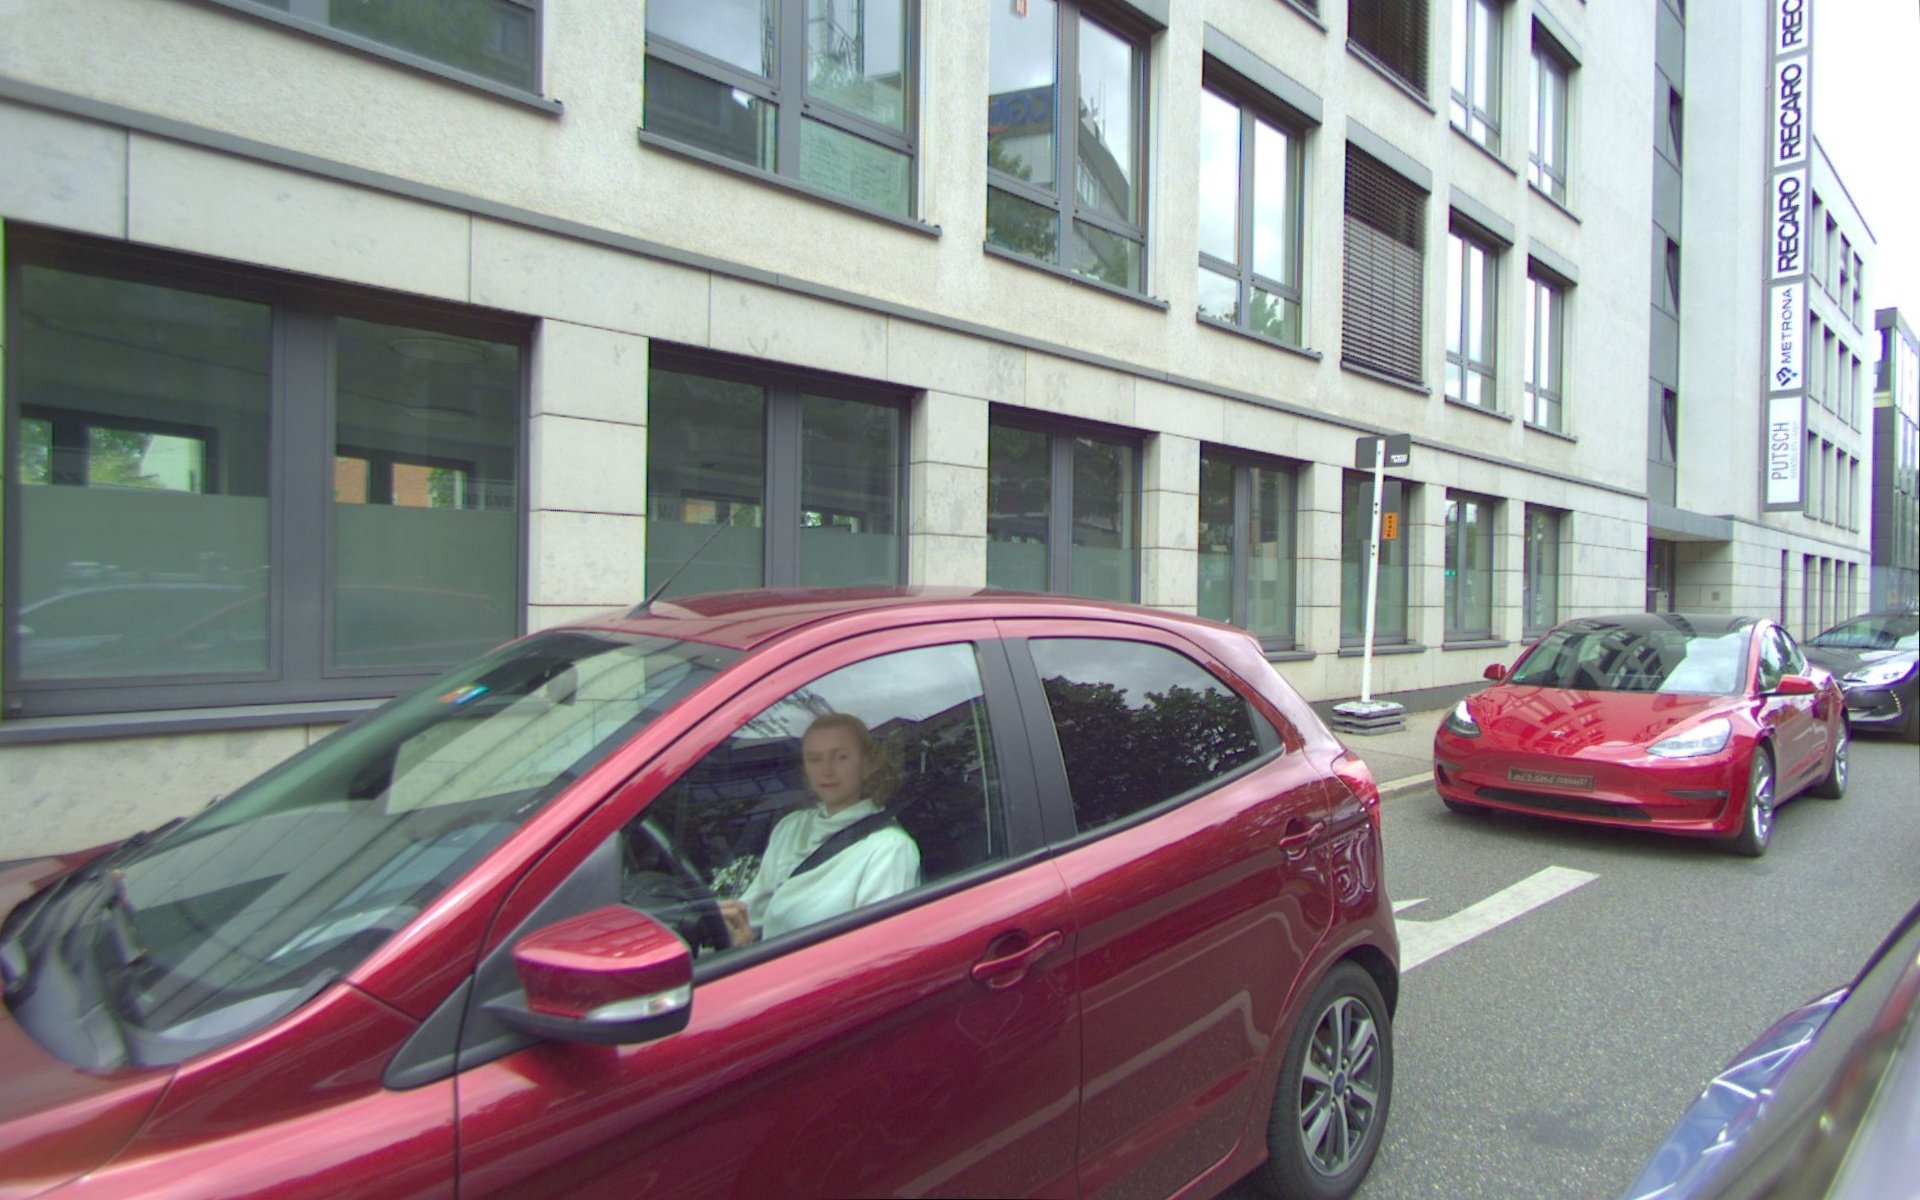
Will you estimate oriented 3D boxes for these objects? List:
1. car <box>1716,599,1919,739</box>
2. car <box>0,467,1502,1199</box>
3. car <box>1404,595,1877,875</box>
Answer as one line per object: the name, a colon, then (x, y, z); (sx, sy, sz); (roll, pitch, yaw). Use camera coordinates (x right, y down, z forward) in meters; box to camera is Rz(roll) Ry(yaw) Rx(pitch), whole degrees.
car: (11.227, 0.730, 11.817); (3.657, 1.476, 1.749); (0, -1, -9)
car: (-0.525, 0.663, 2.384); (3.930, 1.511, 1.888); (0, -2, -41)
car: (5.191, 0.726, 7.473); (4.331, 1.476, 1.823); (0, -1, -41)
